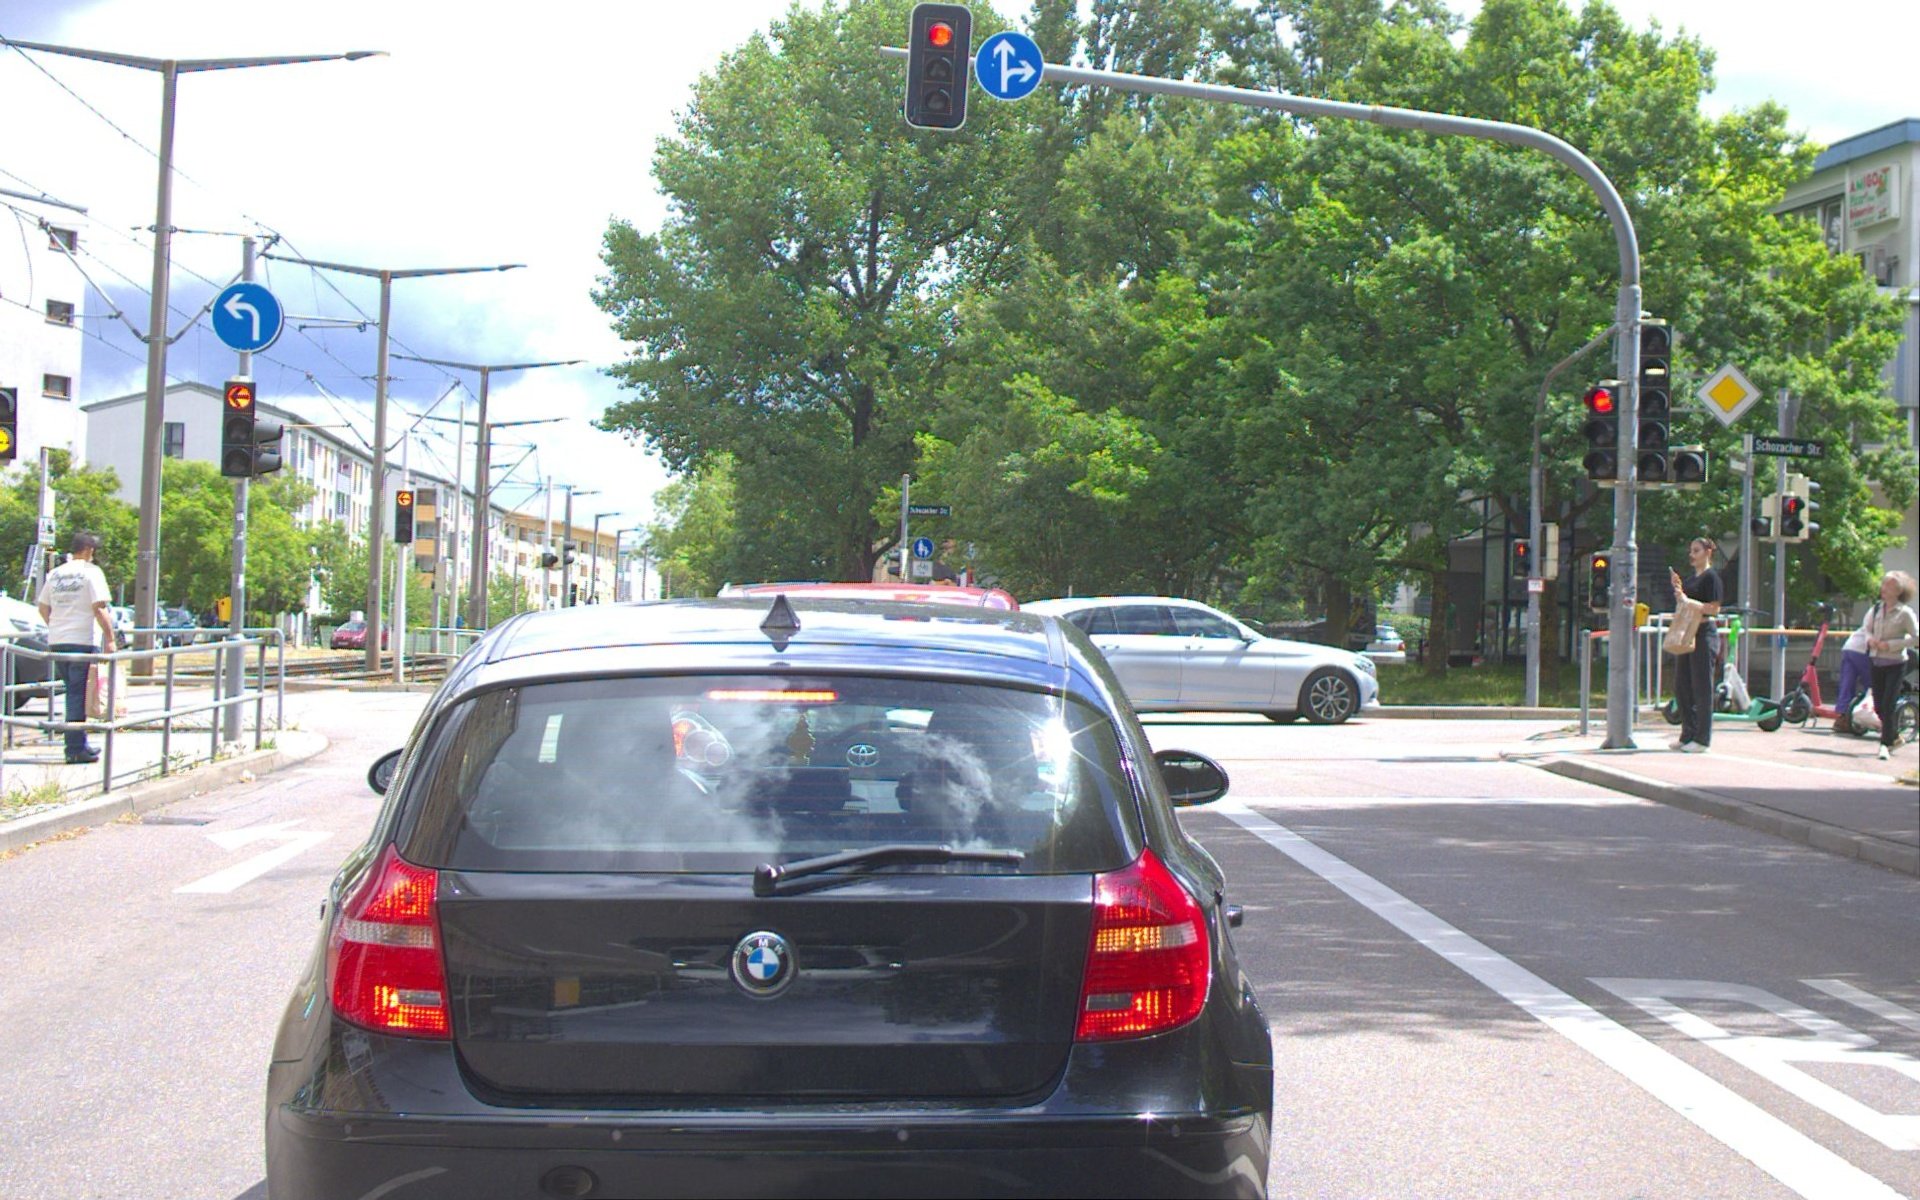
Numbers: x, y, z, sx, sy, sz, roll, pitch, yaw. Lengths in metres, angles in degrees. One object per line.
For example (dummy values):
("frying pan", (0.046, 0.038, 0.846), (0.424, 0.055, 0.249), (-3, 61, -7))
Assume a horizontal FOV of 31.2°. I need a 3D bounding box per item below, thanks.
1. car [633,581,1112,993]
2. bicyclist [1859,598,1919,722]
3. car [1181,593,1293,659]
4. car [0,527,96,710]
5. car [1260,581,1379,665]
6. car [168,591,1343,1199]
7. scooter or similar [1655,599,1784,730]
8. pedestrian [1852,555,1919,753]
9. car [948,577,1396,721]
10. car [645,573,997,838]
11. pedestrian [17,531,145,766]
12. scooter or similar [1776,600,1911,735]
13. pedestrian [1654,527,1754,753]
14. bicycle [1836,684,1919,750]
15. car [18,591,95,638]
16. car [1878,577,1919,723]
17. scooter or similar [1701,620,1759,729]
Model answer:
("car", (-0.322, 0.638, 13.631), (1.638, 1.395, 3.420), (1, 0, -1))
("bicyclist", (8.927, 0.568, 32.925), (0.398, 1.153, 0.503), (-2, 1, -13))
("car", (7.277, 0.662, 90.682), (1.862, 1.656, 4.001), (1, 0, -11))
("car", (-11.916, 0.144, 36.436), (5.168, 1.886, 2.001), (1, 0, -9))
("car", (8.310, 0.505, 79.796), (1.726, 1.865, 4.001), (1, 0, -9))
("car", (-0.321, 0.705, 6.727), (1.700, 1.395, 3.420), (1, 0, -1))
("scooter or similar", (7.296, 0.615, 33.040), (1.110, 1.231, 0.539), (1, 0, 2))
("pedestrian", (8.413, 0.481, 30.871), (0.636, 1.760, 0.518), (1, 0, -1))
("car", (2.384, 0.542, 39.339), (4.789, 1.517, 2.000), (1, 0, -8))
("car", (-0.787, 0.560, 21.068), (1.900, 1.417, 4.539), (1, 0, -1))
("pedestrian", (-6.613, 0.347, 25.856), (0.687, 1.728, 0.687), (-1, 2, -43))
("scooter or similar", (8.671, 0.660, 33.768), (1.150, 1.268, 0.555), (2, 0, 2))
("pedestrian", (6.240, 0.330, 28.850), (0.636, 1.870, 0.518), (1, 0, -11))
("bicycle", (9.269, 1.120, 33.013), (1.585, 0.608, 0.534), (1, 0, -13))
("car", (-29.388, 0.463, 111.917), (1.591, 1.469, 3.775), (1, 0, -2))
("car", (15.465, 0.678, 48.305), (4.534, 2.007, 2.000), (0, 0, -8))
("scooter or similar", (7.819, 0.749, 34.882), (0.548, 1.060, 1.261), (1, 0, 13))
